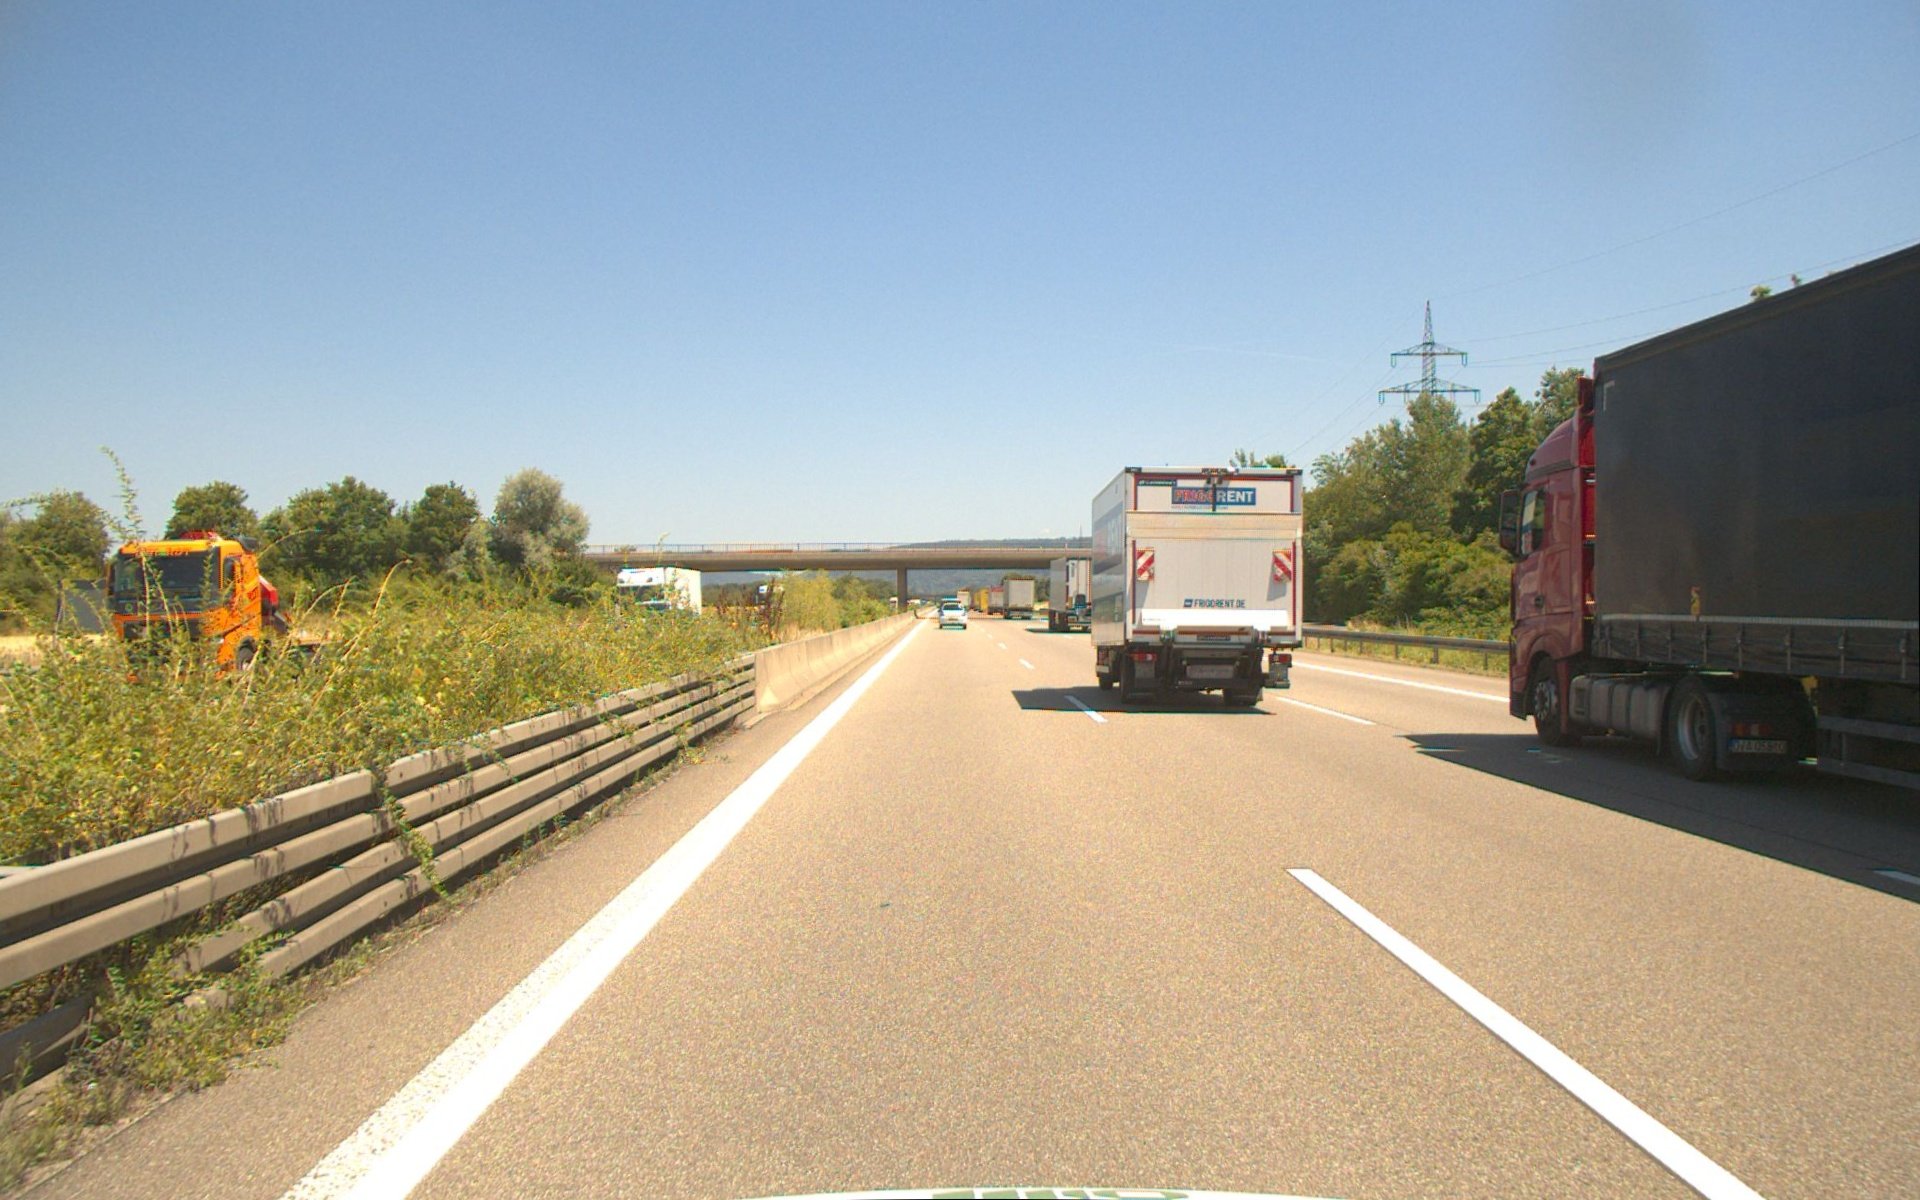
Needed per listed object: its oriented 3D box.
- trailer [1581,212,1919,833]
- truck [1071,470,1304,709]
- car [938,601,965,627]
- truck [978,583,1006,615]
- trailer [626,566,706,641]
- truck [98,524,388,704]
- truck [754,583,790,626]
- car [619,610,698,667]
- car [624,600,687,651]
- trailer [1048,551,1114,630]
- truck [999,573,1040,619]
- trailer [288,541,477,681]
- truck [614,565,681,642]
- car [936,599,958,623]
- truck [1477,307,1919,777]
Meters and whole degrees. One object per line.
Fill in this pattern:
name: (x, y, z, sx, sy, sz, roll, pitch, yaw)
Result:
trailer: (7.916, -0.525, 10.446, 2.732, 4.237, 13.571, 0, 0, -1)
truck: (3.571, -0.132, 28.040, 2.726, 3.432, 8.126, 1, 0, -1)
car: (-0.507, 0.859, 99.982, 1.574, 1.493, 4.000, -1, 0, 0)
truck: (4.617, -0.167, 241.932, 3.449, 4.493, 14.589, -1, 0, -1)
trailer: (-17.499, 0.198, 99.257, 2.640, 4.085, 12.964, -2, 0, -1)
truck: (-16.992, 0.302, 40.235, 2.598, 3.725, 10.187, -2, 0, -1)
truck: (-18.249, 0.396, 160.666, 2.776, 4.007, 5.823, -2, 0, -1)
car: (-9.223, 1.143, 50.905, 1.731, 1.607, 3.817, -2, 0, -1)
car: (-12.931, 1.053, 70.460, 1.844, 2.022, 4.738, -3, 0, -1)
trailer: (6.891, -0.499, 95.848, 2.737, 4.237, 13.954, 0, 0, 0)
truck: (6.120, -0.424, 172.119, 3.449, 4.493, 14.589, -1, 0, -1)
trailer: (-17.081, 0.309, 49.629, 2.598, 3.725, 8.534, -2, 0, -1)
truck: (-17.363, 0.196, 92.272, 2.626, 4.085, 5.754, -2, 0, -1)
car: (-1.023, 0.869, 131.681, 1.724, 1.883, 4.000, -1, 0, 0)
truck: (7.845, -0.518, 17.831, 2.738, 4.237, 5.722, 0, 0, 0)
